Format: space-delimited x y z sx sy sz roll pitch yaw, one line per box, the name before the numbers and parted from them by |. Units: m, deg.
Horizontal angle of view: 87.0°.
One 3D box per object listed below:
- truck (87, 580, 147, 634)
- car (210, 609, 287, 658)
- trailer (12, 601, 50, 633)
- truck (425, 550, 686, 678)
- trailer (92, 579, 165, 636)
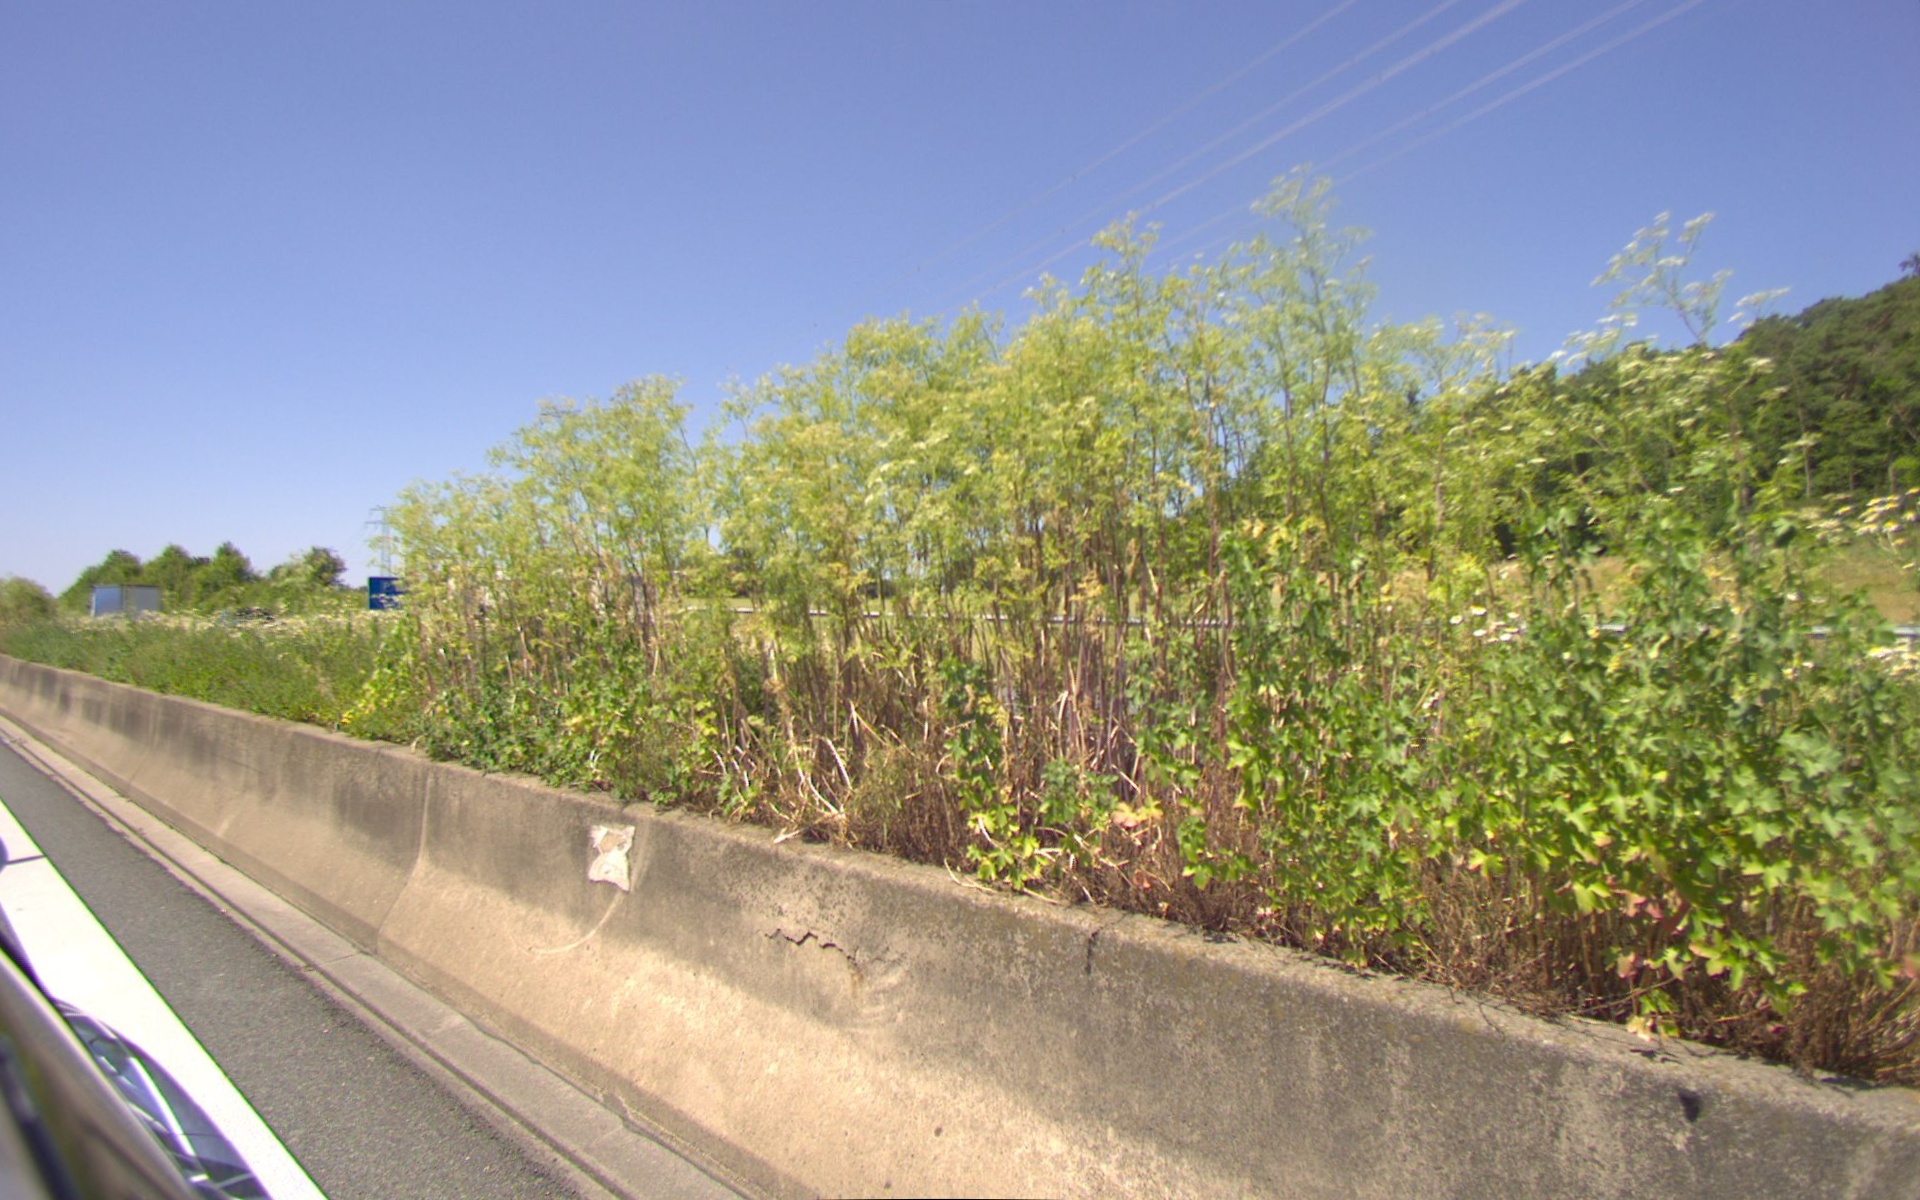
truck | -69.994 0.602 83.974 6.685 4.260 2.979 -1 -1 43
car | -28.016 1.287 39.817 4.024 1.801 1.588 -1 -1 41
trailer | -128.160 2.308 139.553 10.683 4.238 2.792 0 1 42
truck | -12.883 0.455 31.276 11.819 3.313 2.735 -1 -1 43
trailer | -66.113 0.605 80.391 10.980 4.260 2.979 -1 -1 43
